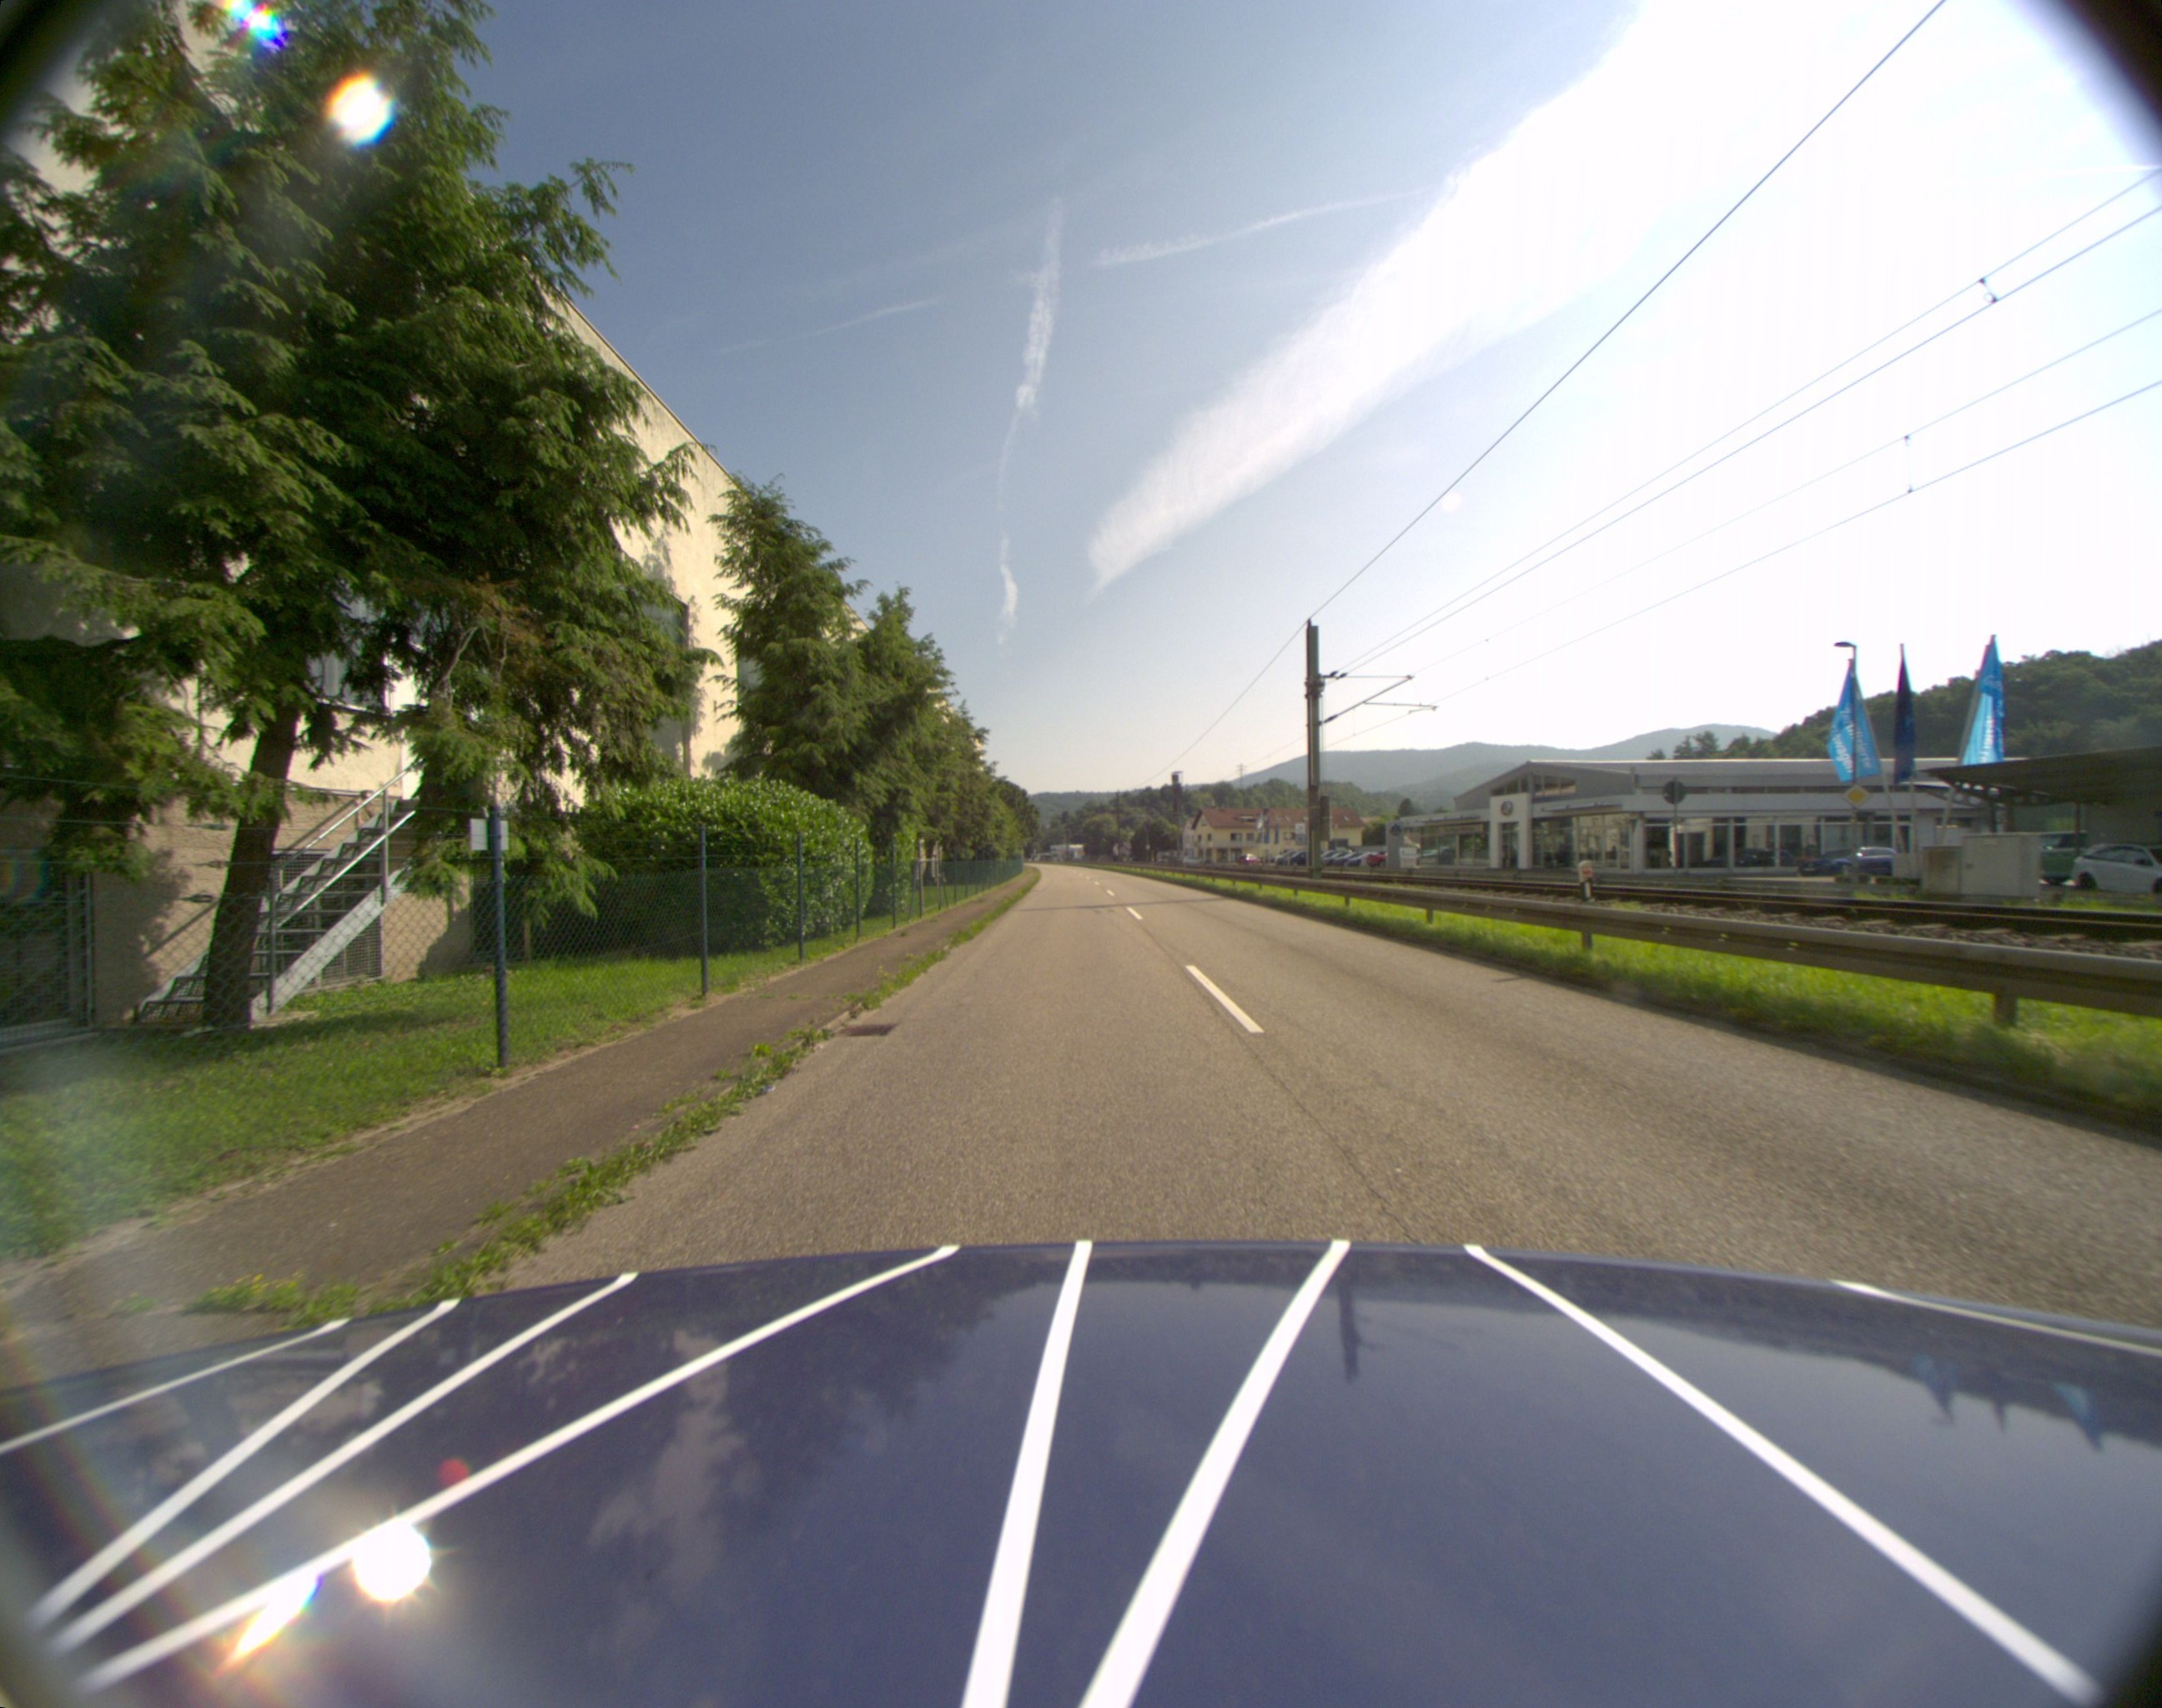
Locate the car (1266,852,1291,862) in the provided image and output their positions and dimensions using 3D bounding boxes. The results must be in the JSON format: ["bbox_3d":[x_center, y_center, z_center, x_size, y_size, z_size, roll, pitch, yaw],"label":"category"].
[{"bbox_3d":[30.103,0.451,115.696,3.540,1.566,1.651,0,0,18],"label":"car"}]

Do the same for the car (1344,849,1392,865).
[{"bbox_3d":[27.529,0.279,72.940,4.002,1.451,1.758,0,0,-13],"label":"car"}]

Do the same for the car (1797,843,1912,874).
[{"bbox_3d":[36.665,0.206,36.070,3.998,1.412,1.619,-1,0,-4],"label":"car"}]

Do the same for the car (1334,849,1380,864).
[{"bbox_3d":[27.594,0.291,76.014,3.998,1.451,1.760,0,0,-3],"label":"car"}]

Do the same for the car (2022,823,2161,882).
[{"bbox_3d":[34.691,-0.073,24.955,1.903,1.847,4.553,-1,0,-1],"label":"car"}]

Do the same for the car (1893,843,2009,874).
[{"bbox_3d":[42.102,0.213,36.804,3.998,1.412,1.619,-1,0,-4],"label":"car"}]

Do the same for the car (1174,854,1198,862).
[{"bbox_3d":[18.923,0.703,137.006,3.858,1.292,1.647,-1,0,-8],"label":"car"}]

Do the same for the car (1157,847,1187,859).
[{"bbox_3d":[18.314,-0.146,153.197,5.588,2.402,2.235,-1,0,-5],"label":"car"}]

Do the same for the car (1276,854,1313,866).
[{"bbox_3d":[25.693,0.739,91.514,3.998,1.451,1.760,0,0,-3],"label":"car"}]

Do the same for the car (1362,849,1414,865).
[{"bbox_3d":[27.657,0.278,68.538,4.000,1.367,1.860,0,0,-8],"label":"car"}]

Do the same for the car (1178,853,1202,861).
[{"bbox_3d":[19.294,0.536,134.204,3.858,1.292,1.647,-1,0,-8],"label":"car"}]

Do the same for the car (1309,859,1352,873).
[{"bbox_3d":[27.102,1.306,82.574,3.998,1.451,1.760,0,0,-3],"label":"car"}]

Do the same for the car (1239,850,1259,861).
[{"bbox_3d":[23.639,0.208,106.678,1.856,1.451,4.007,0,0,25],"label":"car"}]

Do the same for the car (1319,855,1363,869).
[{"bbox_3d":[27.093,0.811,79.331,3.998,1.451,1.760,0,0,-3],"label":"car"}]

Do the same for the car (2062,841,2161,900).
[{"bbox_3d":[26.896,0.375,18.663,1.842,1.377,4.532,-1,0,30],"label":"car"}]
